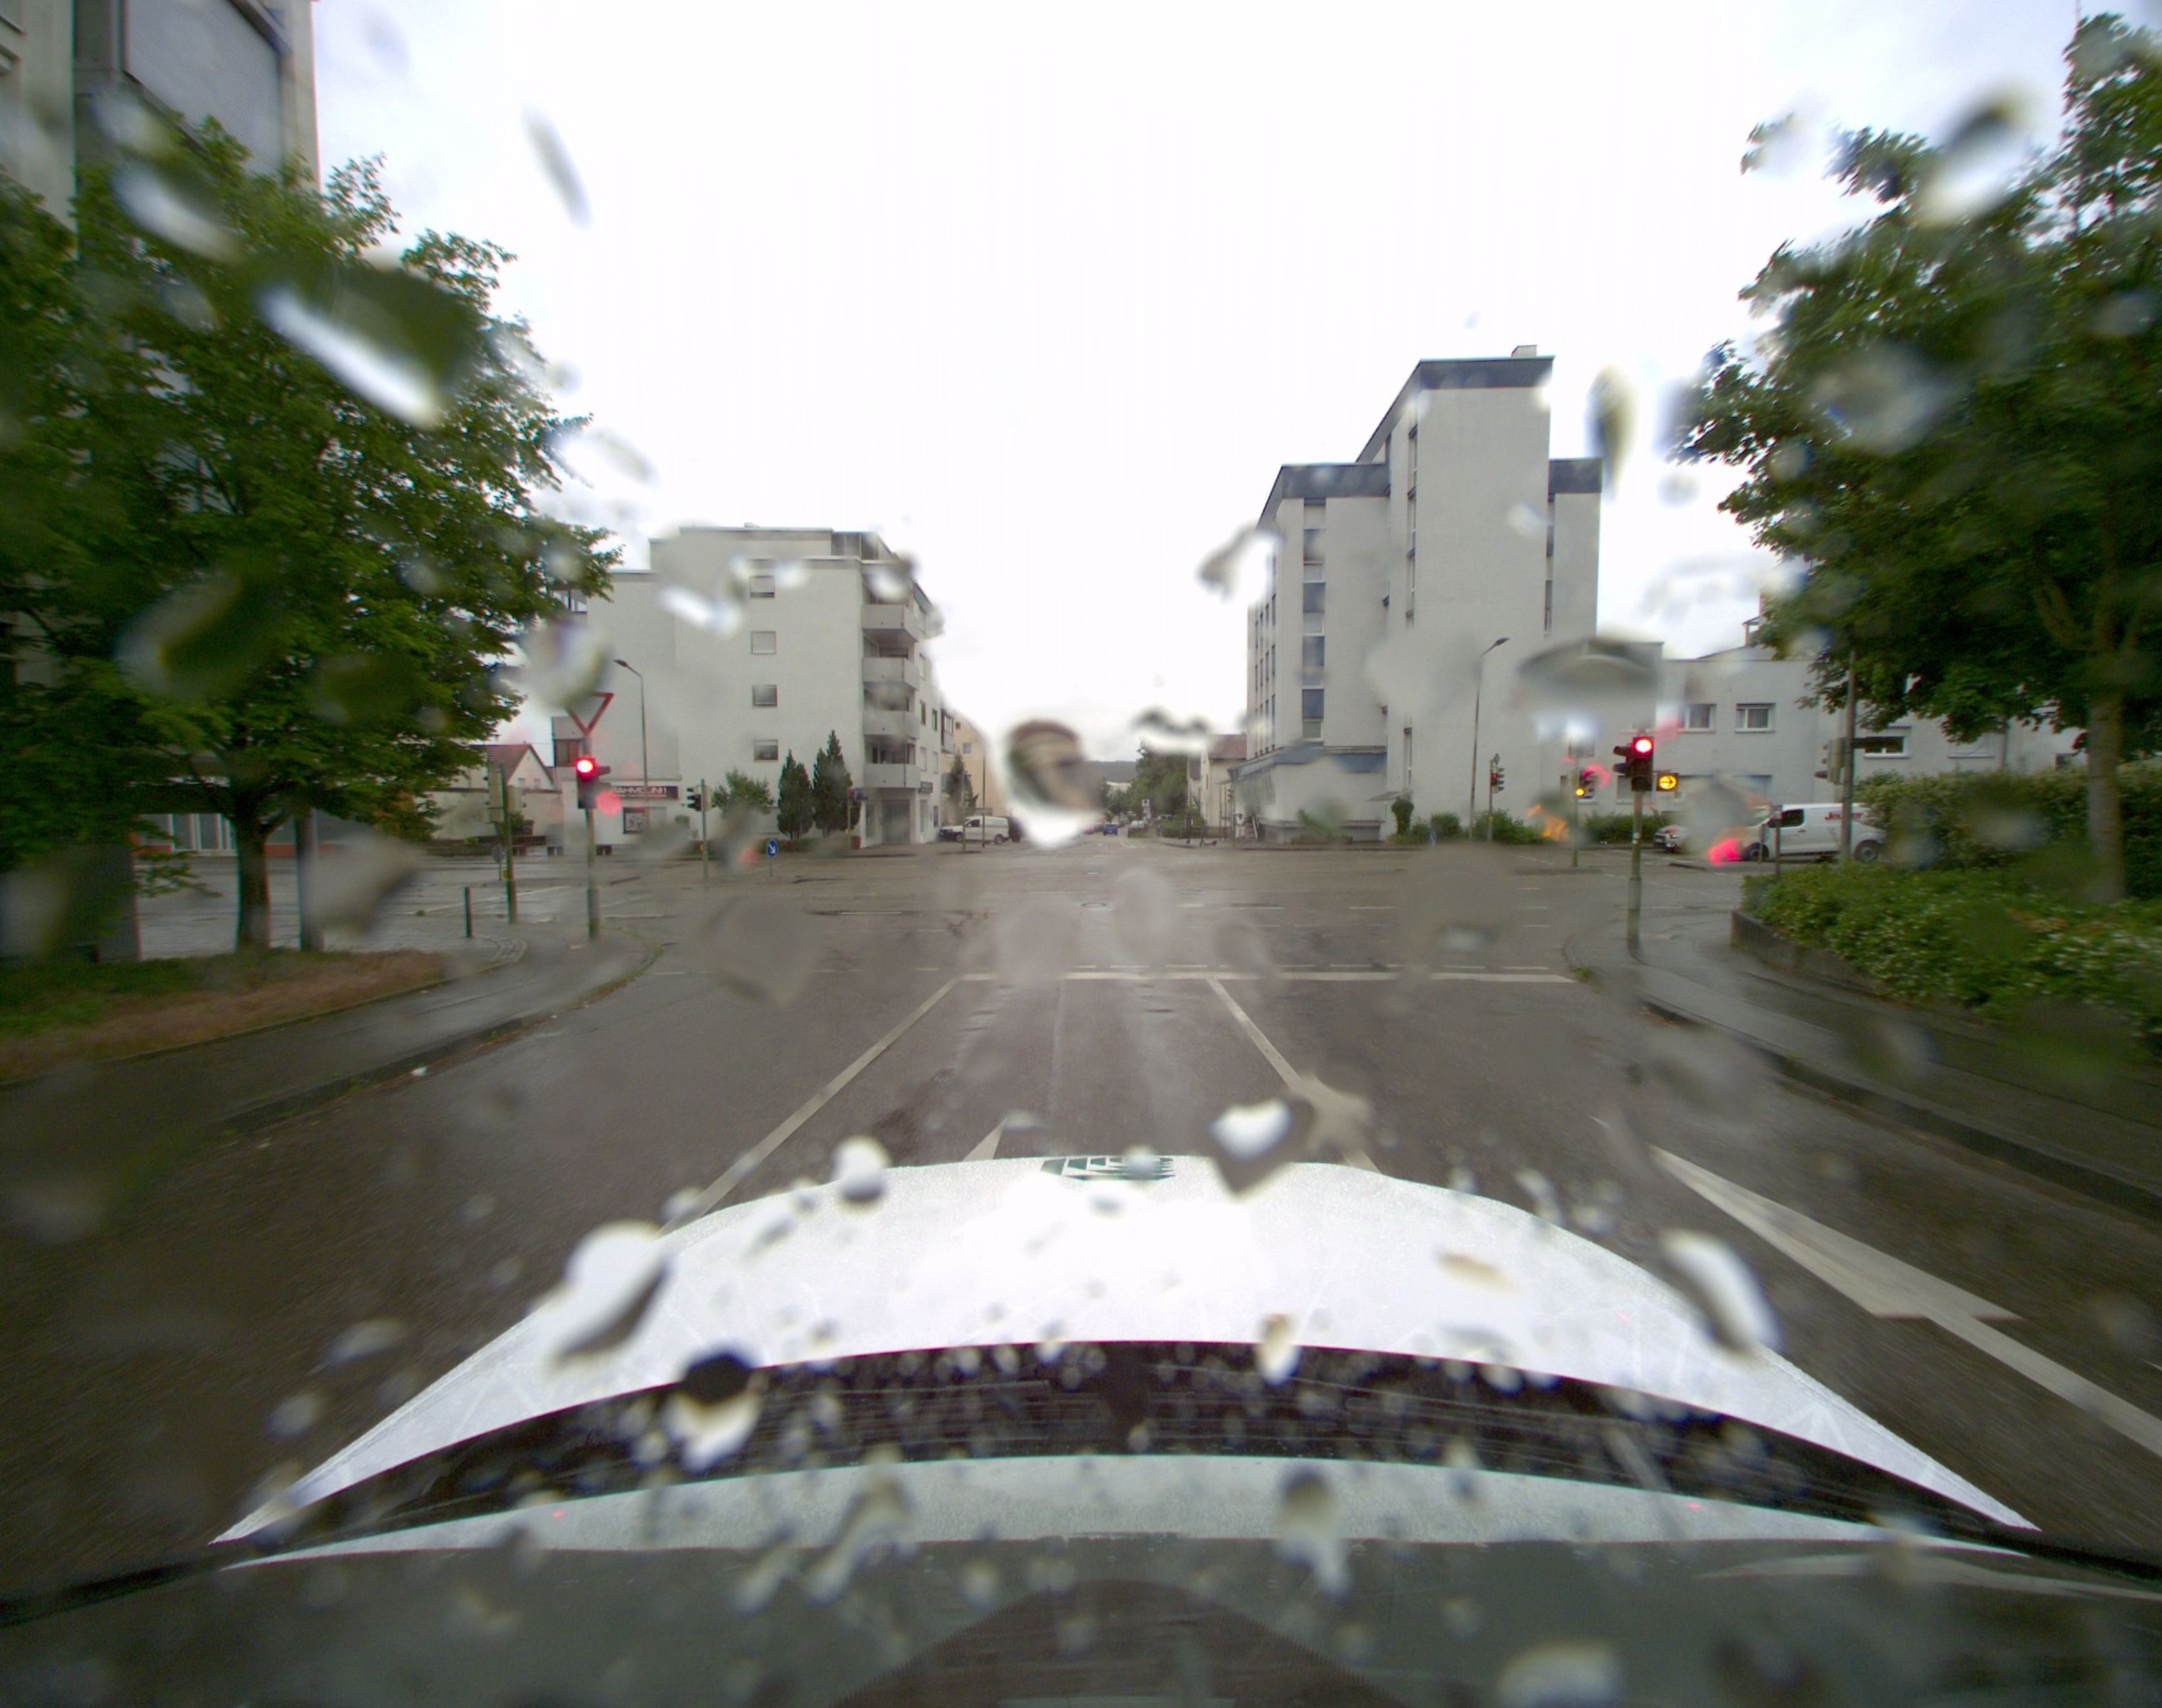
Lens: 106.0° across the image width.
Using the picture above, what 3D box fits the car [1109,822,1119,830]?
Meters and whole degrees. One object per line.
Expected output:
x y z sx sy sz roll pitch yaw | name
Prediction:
6.562 -5.550 160.923 1.893 1.558 4.195 -1 2 3 | car

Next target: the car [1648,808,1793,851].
24.055 -0.938 30.772 3.966 1.467 1.835 -2 2 6 | car

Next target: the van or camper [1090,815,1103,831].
2.550 -5.131 133.319 1.893 2.513 4.243 -1 2 3 | van or camper

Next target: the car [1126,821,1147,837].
5.928 -2.713 87.630 2.137 1.589 4.132 -1 2 3 | car

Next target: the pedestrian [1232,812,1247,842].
8.931 -1.530 45.818 0.646 1.647 0.525 2 1 -4 | pedestrian

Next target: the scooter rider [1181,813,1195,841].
6.928 -1.767 52.746 0.749 1.795 0.673 -2 2 2 | scooter rider

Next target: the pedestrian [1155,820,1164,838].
8.028 -2.583 83.532 0.744 1.848 0.525 2 1 -4 | pedestrian

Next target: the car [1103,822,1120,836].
3.774 -3.073 101.191 1.987 1.683 4.001 -1 2 0 | car

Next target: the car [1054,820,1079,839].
-1.268 -2.242 74.388 1.985 1.625 4.195 -1 2 3 | car

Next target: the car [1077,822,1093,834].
0.523 -3.580 110.821 1.893 1.558 4.195 -1 2 3 | car

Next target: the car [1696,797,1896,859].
23.676 -0.842 27.126 4.786 1.916 1.831 -1 1 9 | car

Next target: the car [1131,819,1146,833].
7.685 -3.778 109.860 1.893 1.745 4.195 -1 2 3 | car

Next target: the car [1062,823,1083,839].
-0.869 -2.465 85.791 1.985 1.625 4.195 -1 2 3 | car

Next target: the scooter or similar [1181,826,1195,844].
6.935 -1.241 52.765 0.753 1.171 1.316 -1 2 4 | scooter or similar

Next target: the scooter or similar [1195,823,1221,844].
6.998 -1.123 44.795 1.265 1.081 0.876 -2 2 -2 | scooter or similar

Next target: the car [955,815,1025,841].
-6.824 -1.982 61.151 4.866 1.835 1.978 -3 2 -36 | car

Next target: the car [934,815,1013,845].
-7.132 -1.610 54.187 4.866 1.835 1.978 -3 2 -36 | car
